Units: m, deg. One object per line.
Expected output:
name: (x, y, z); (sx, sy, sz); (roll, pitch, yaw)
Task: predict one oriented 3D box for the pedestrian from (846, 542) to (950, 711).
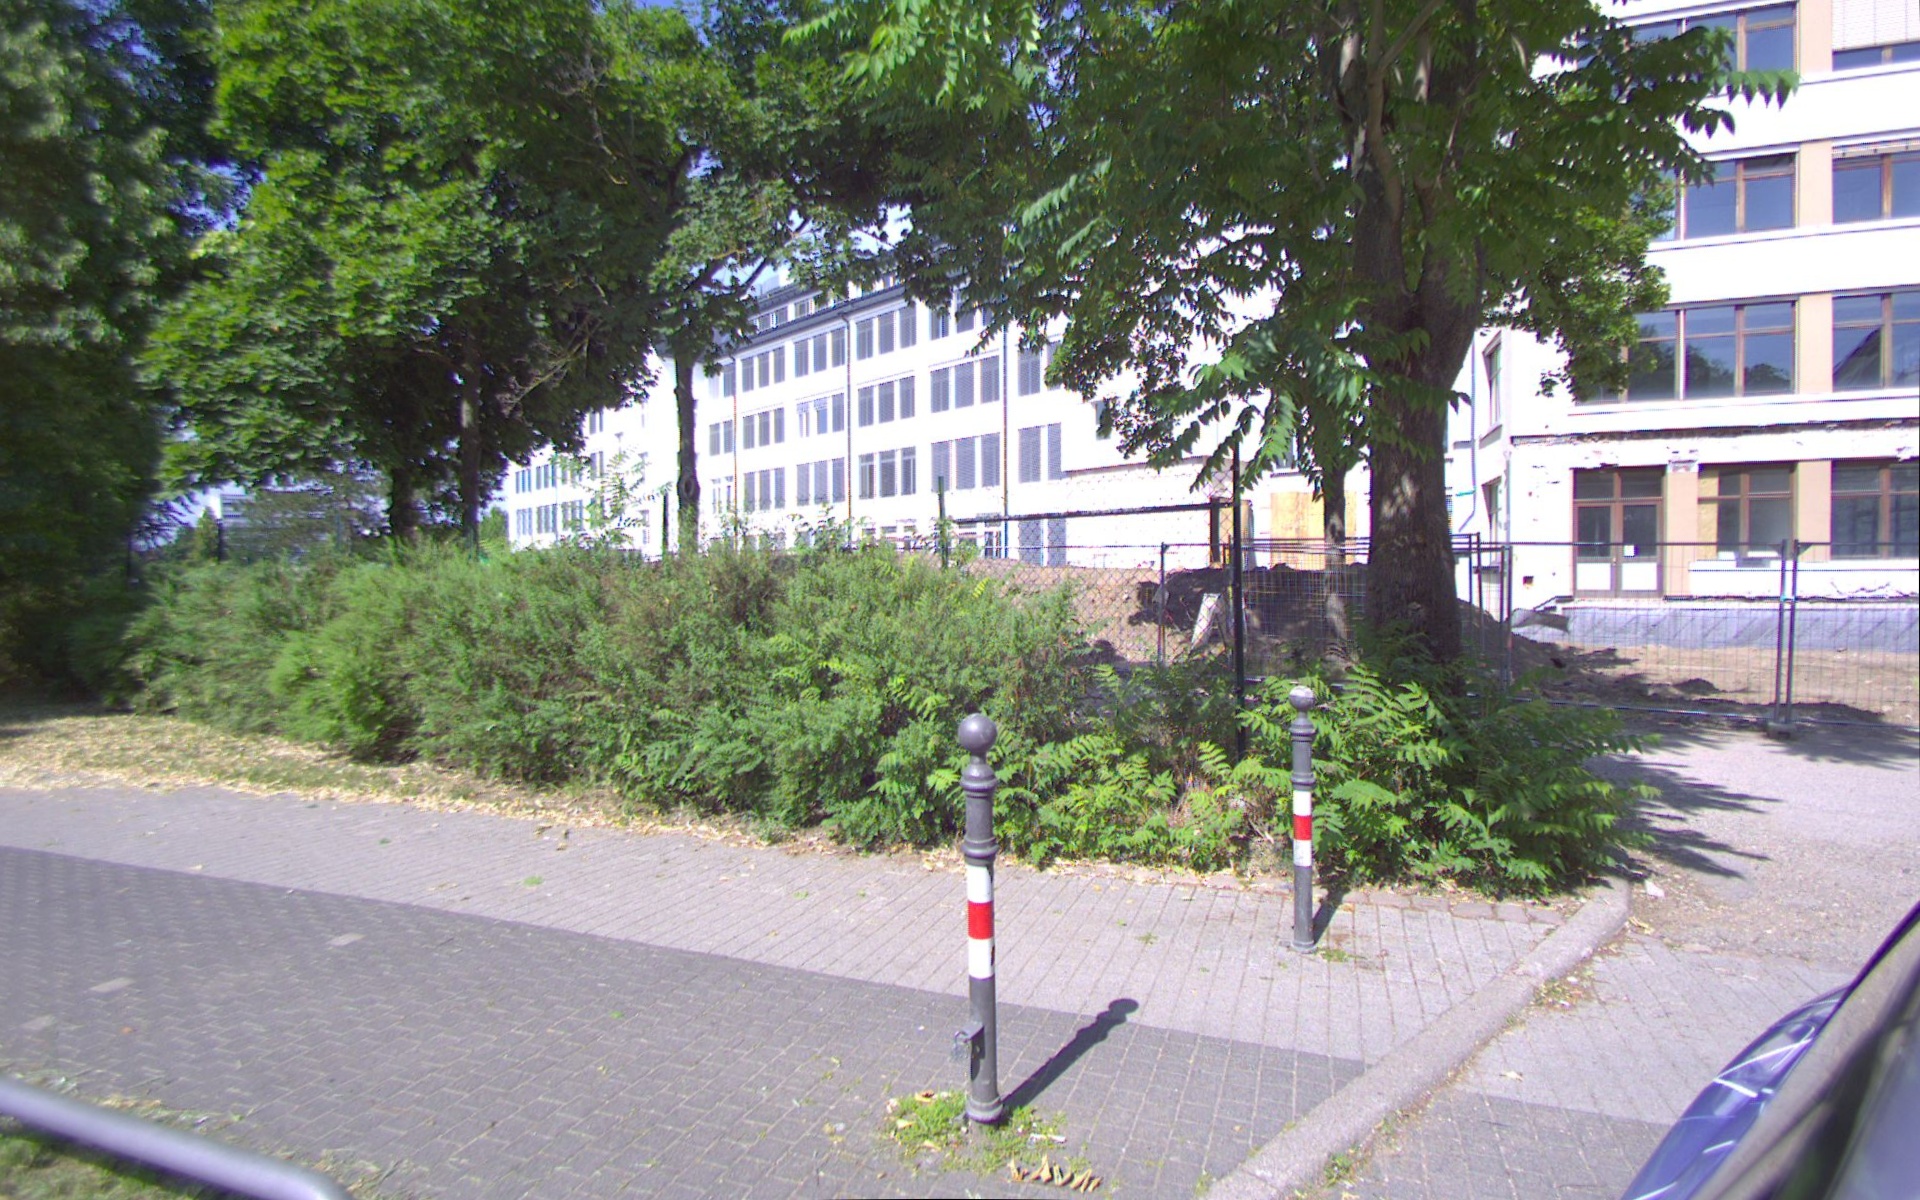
pedestrian: (-0.679, 0.259, 11.055); (0.850, 1.749, 0.746); (2, 1, 40)
